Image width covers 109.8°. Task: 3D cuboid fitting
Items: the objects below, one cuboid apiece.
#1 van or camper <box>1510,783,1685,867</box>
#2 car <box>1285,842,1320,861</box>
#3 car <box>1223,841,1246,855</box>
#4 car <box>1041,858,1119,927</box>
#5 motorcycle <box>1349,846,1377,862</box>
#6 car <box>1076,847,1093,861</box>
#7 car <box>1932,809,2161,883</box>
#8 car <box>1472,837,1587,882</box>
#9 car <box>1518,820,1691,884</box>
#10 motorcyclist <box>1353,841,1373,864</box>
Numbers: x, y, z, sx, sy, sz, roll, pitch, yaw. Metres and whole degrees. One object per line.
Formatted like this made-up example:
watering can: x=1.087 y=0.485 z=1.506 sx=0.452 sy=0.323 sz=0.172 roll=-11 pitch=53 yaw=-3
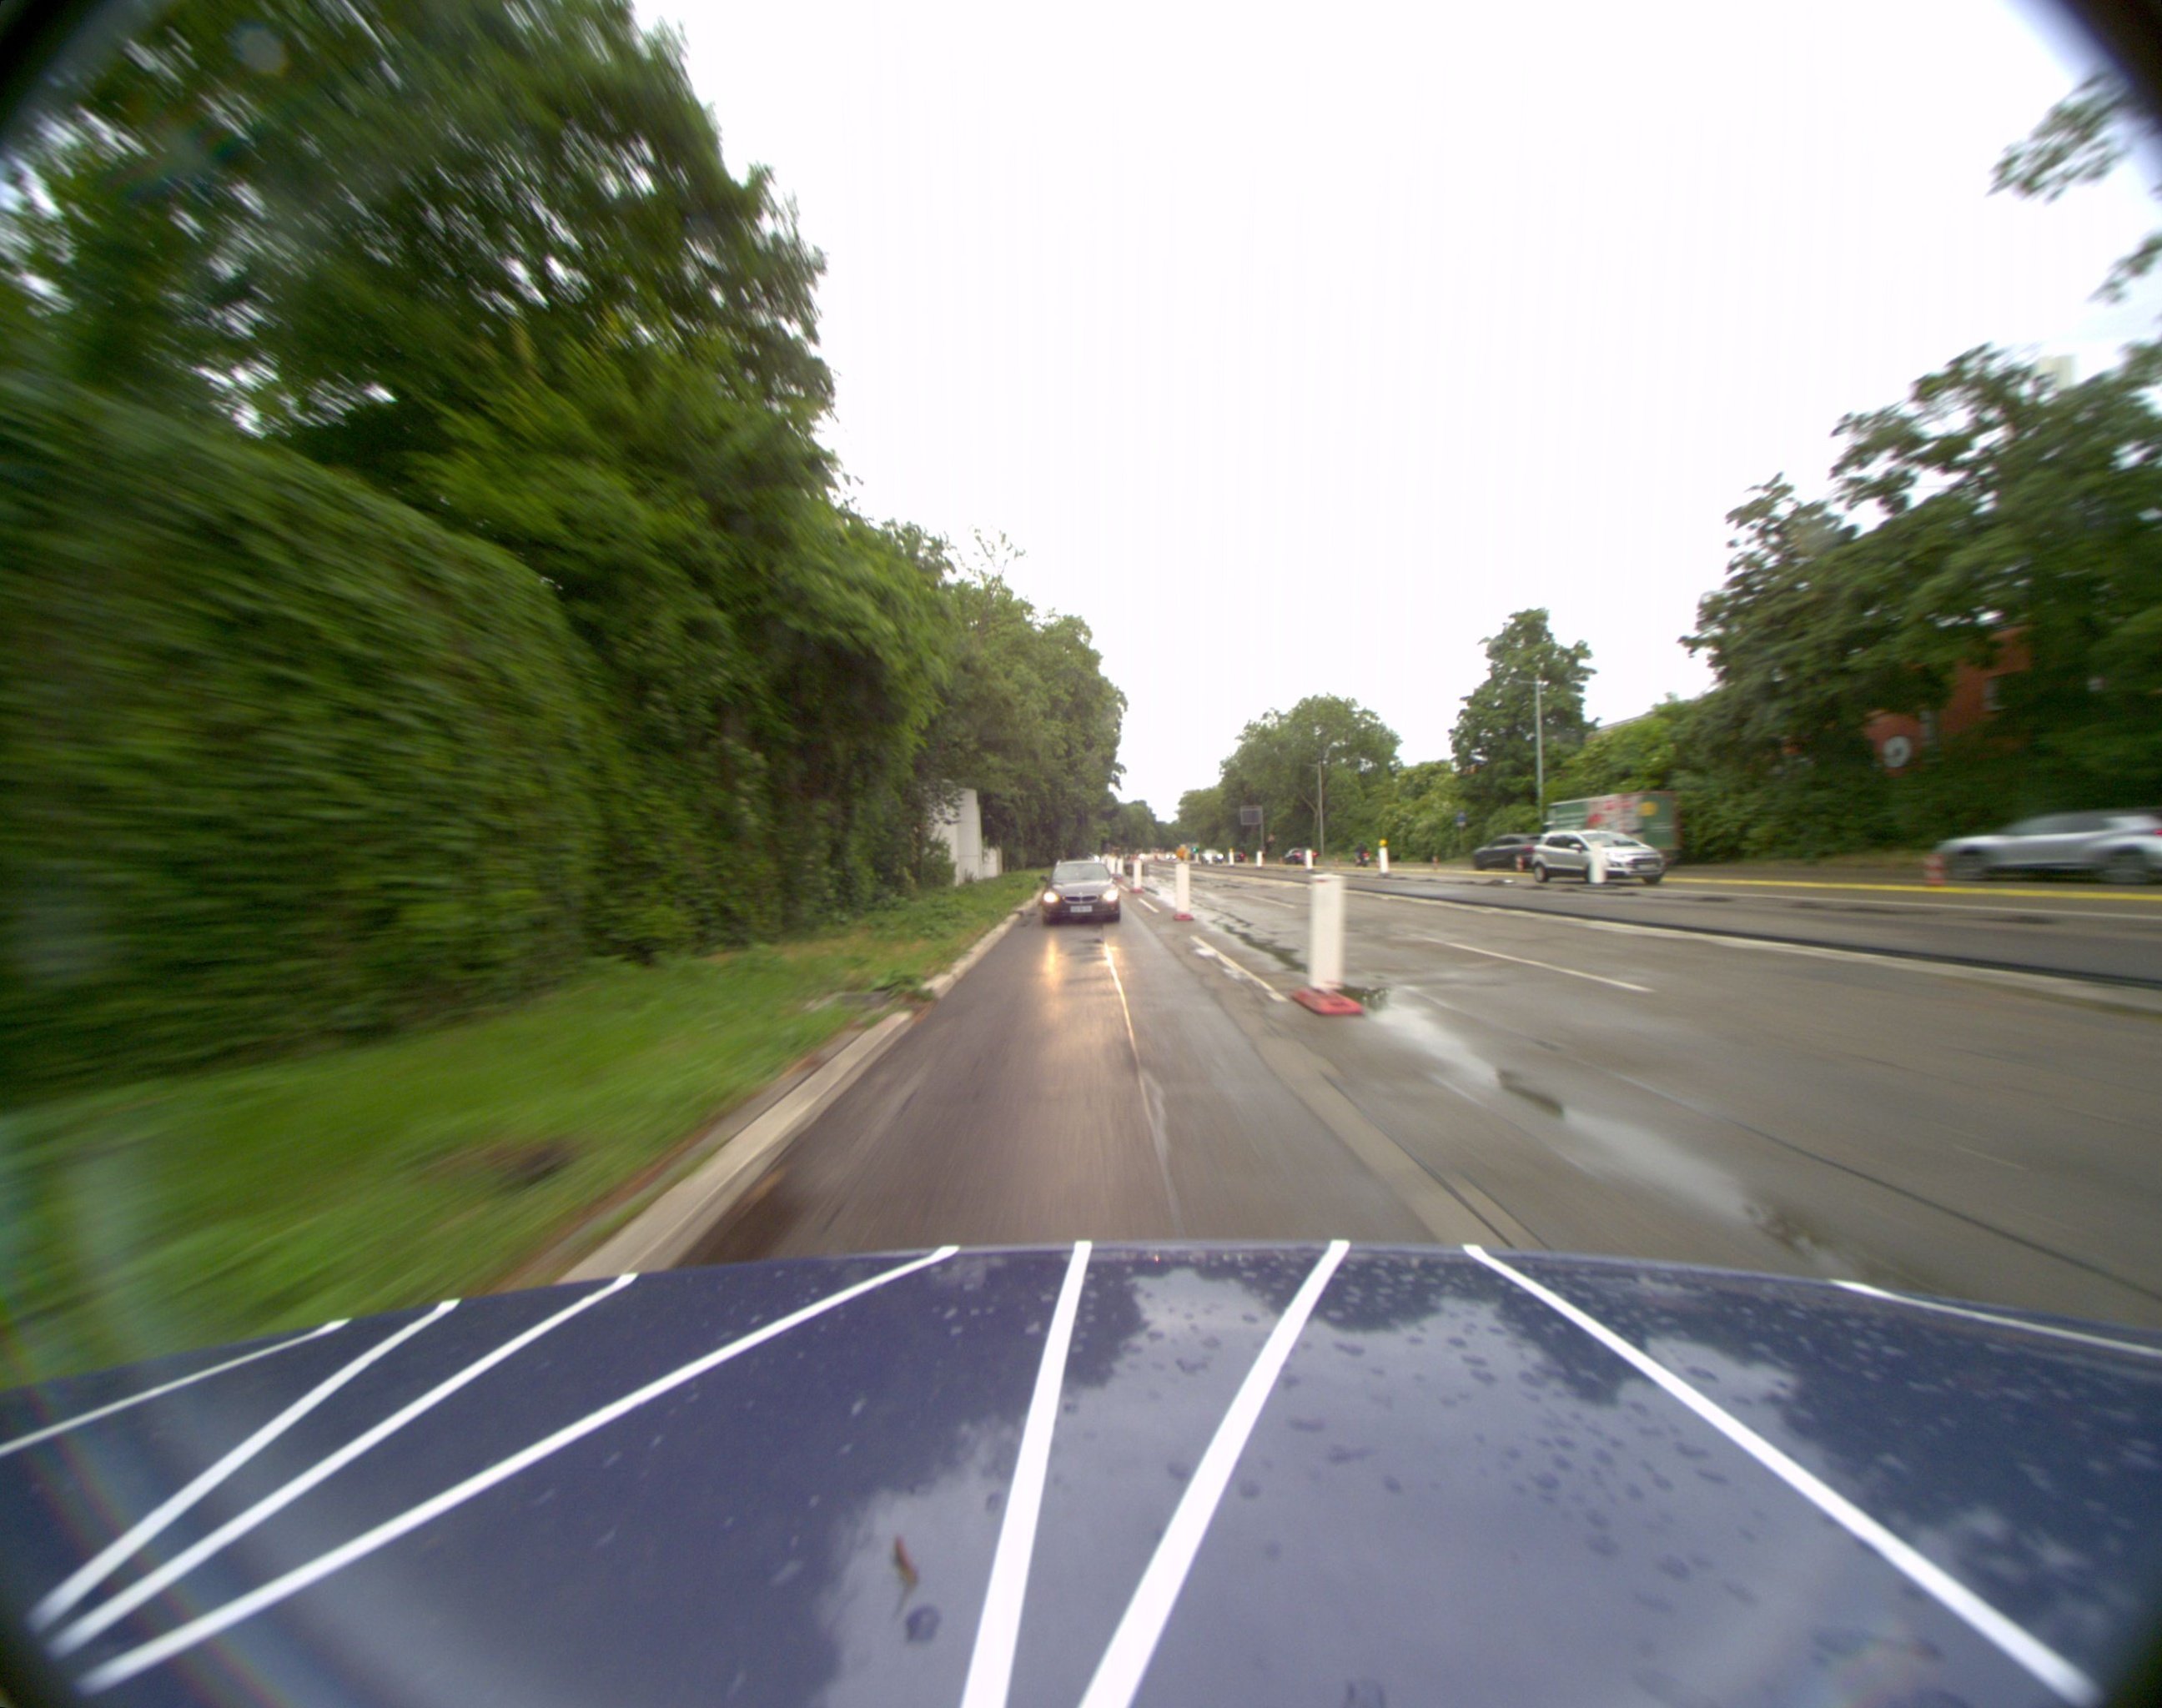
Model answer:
van or camper: x=21.488 y=-1.134 z=32.242 sx=2.303 sy=3.045 sz=7.451 roll=-3 pitch=1 yaw=0
car: x=18.735 y=-0.237 z=64.502 sx=1.691 sy=1.434 sz=4.107 roll=-4 pitch=1 yaw=0
car: x=19.317 y=-0.746 z=95.483 sx=1.893 sy=1.543 sz=4.397 roll=-6 pitch=0 yaw=0
car: x=-0.014 y=0.845 z=18.572 sx=1.658 sy=1.409 sz=4.128 roll=-1 pitch=1 yaw=0
motorcycle: x=18.065 y=-0.022 z=48.696 sx=0.810 sy=0.983 sz=2.593 roll=-4 pitch=1 yaw=1
car: x=0.478 y=-0.049 z=96.838 sx=1.998 sy=1.707 sz=4.000 roll=-2 pitch=1 yaw=3
car: x=20.908 y=-0.201 z=15.854 sx=1.720 sy=1.357 sz=4.081 roll=-2 pitch=1 yaw=0
car: x=18.699 y=0.175 z=31.984 sx=1.998 sy=1.684 sz=4.806 roll=-2 pitch=1 yaw=0
car: x=15.156 y=-0.058 z=22.362 sx=1.894 sy=1.555 sz=4.362 roll=-4 pitch=0 yaw=-2
motorcyclist: x=18.054 y=-0.105 z=48.641 sx=0.816 sy=1.402 sz=0.975 roll=-4 pitch=1 yaw=0
